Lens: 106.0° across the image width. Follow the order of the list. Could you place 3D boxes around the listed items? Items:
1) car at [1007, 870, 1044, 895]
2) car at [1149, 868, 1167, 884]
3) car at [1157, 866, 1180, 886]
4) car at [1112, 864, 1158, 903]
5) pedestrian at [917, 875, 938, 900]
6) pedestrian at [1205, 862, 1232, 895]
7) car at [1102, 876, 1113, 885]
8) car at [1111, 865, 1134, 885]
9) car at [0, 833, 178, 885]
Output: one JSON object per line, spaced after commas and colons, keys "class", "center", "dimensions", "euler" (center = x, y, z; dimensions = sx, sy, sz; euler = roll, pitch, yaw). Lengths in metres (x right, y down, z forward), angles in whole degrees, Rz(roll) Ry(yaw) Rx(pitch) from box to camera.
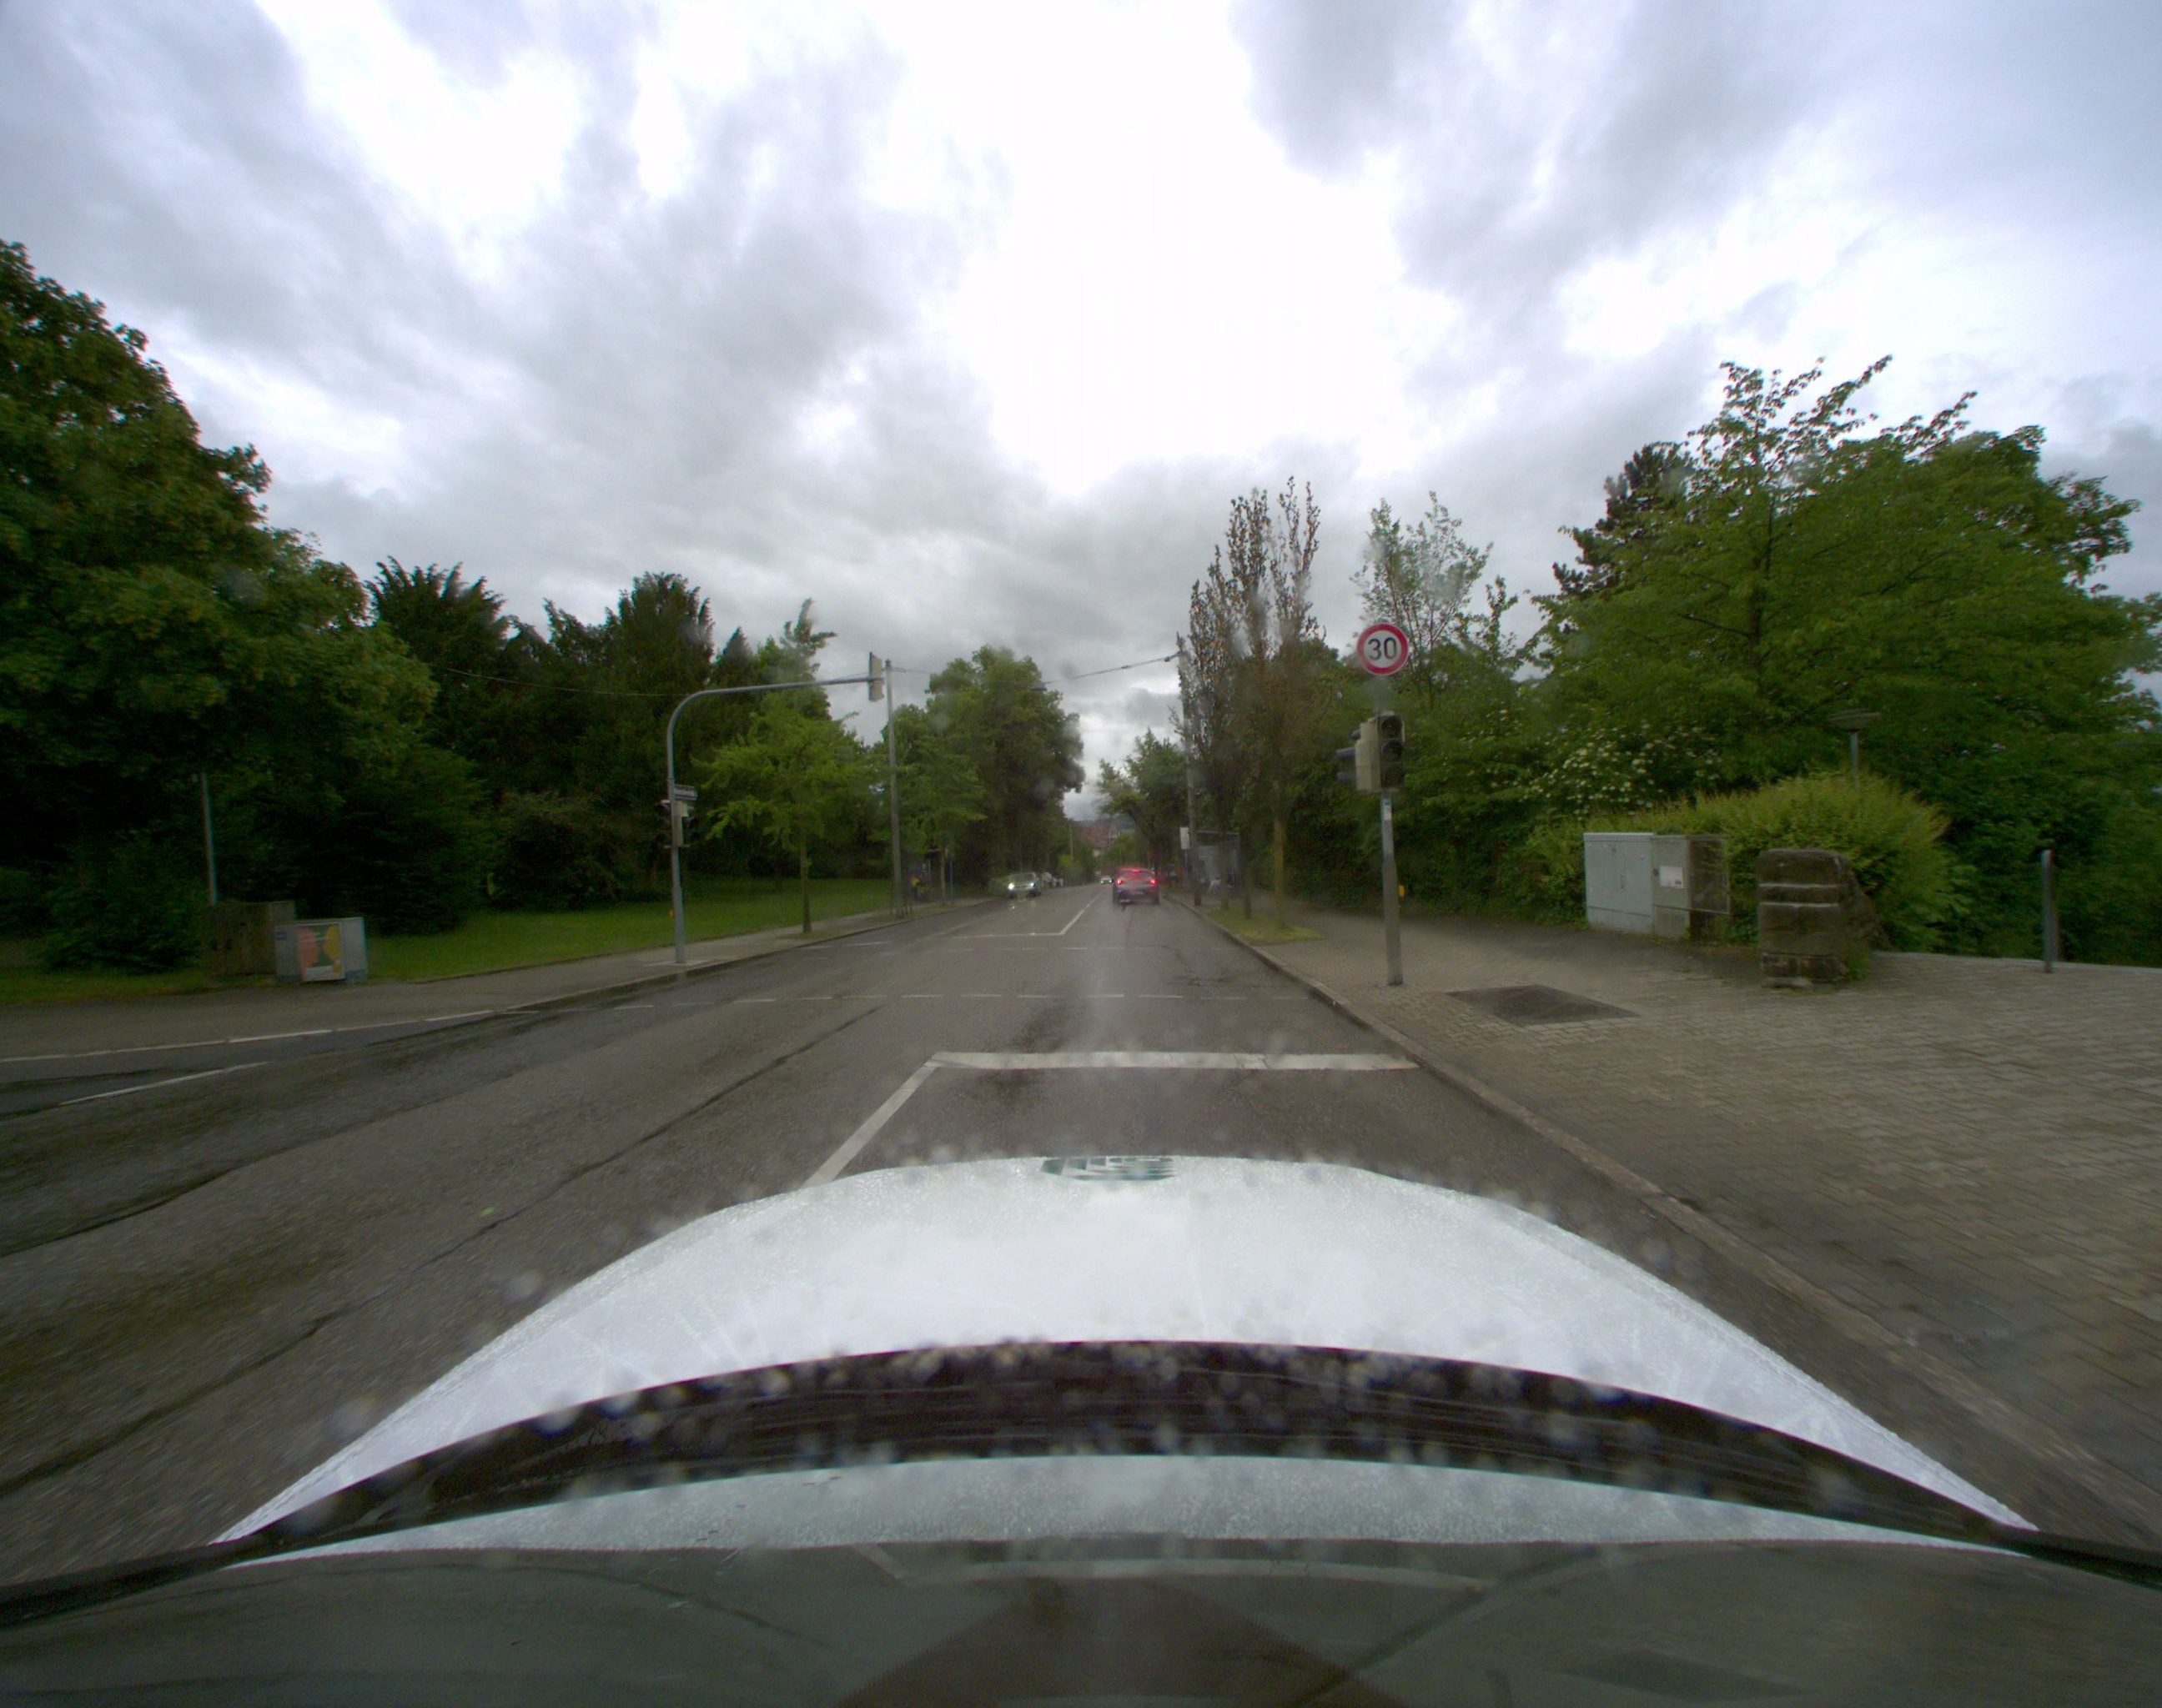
{"class": "car", "center": [-3.283, 1.690, 48.574], "dimensions": [1.714, 1.399, 4.003], "euler": [0, -1, 3]}
{"class": "car", "center": [7.852, 2.266, 83.248], "dimensions": [1.714, 1.464, 4.004], "euler": [-4, -1, 3]}
{"class": "car", "center": [7.297, 1.821, 68.093], "dimensions": [1.714, 1.464, 4.004], "euler": [-4, -1, 4]}
{"class": "car", "center": [2.185, 1.170, 33.469], "dimensions": [1.747, 1.464, 4.003], "euler": [0, 0, 3]}
{"class": "pedestrian", "center": [-8.834, 1.938, 46.815], "dimensions": [0.932, 1.404, 0.921], "euler": [0, -1, 10]}
{"class": "pedestrian", "center": [5.951, 1.061, 35.280], "dimensions": [1.067, 1.355, 0.921], "euler": [-4, -1, 10]}
{"class": "car", "center": [4.438, 4.458, 137.021], "dimensions": [1.714, 1.464, 4.003], "euler": [1, -1, 3]}
{"class": "car", "center": [3.218, 1.643, 62.690], "dimensions": [1.747, 1.464, 4.002], "euler": [0, -3, 3]}
{"class": "car", "center": [-31.304, 0.159, 25.282], "dimensions": [3.909, 1.486, 1.922], "euler": [-1, -1, -20]}
